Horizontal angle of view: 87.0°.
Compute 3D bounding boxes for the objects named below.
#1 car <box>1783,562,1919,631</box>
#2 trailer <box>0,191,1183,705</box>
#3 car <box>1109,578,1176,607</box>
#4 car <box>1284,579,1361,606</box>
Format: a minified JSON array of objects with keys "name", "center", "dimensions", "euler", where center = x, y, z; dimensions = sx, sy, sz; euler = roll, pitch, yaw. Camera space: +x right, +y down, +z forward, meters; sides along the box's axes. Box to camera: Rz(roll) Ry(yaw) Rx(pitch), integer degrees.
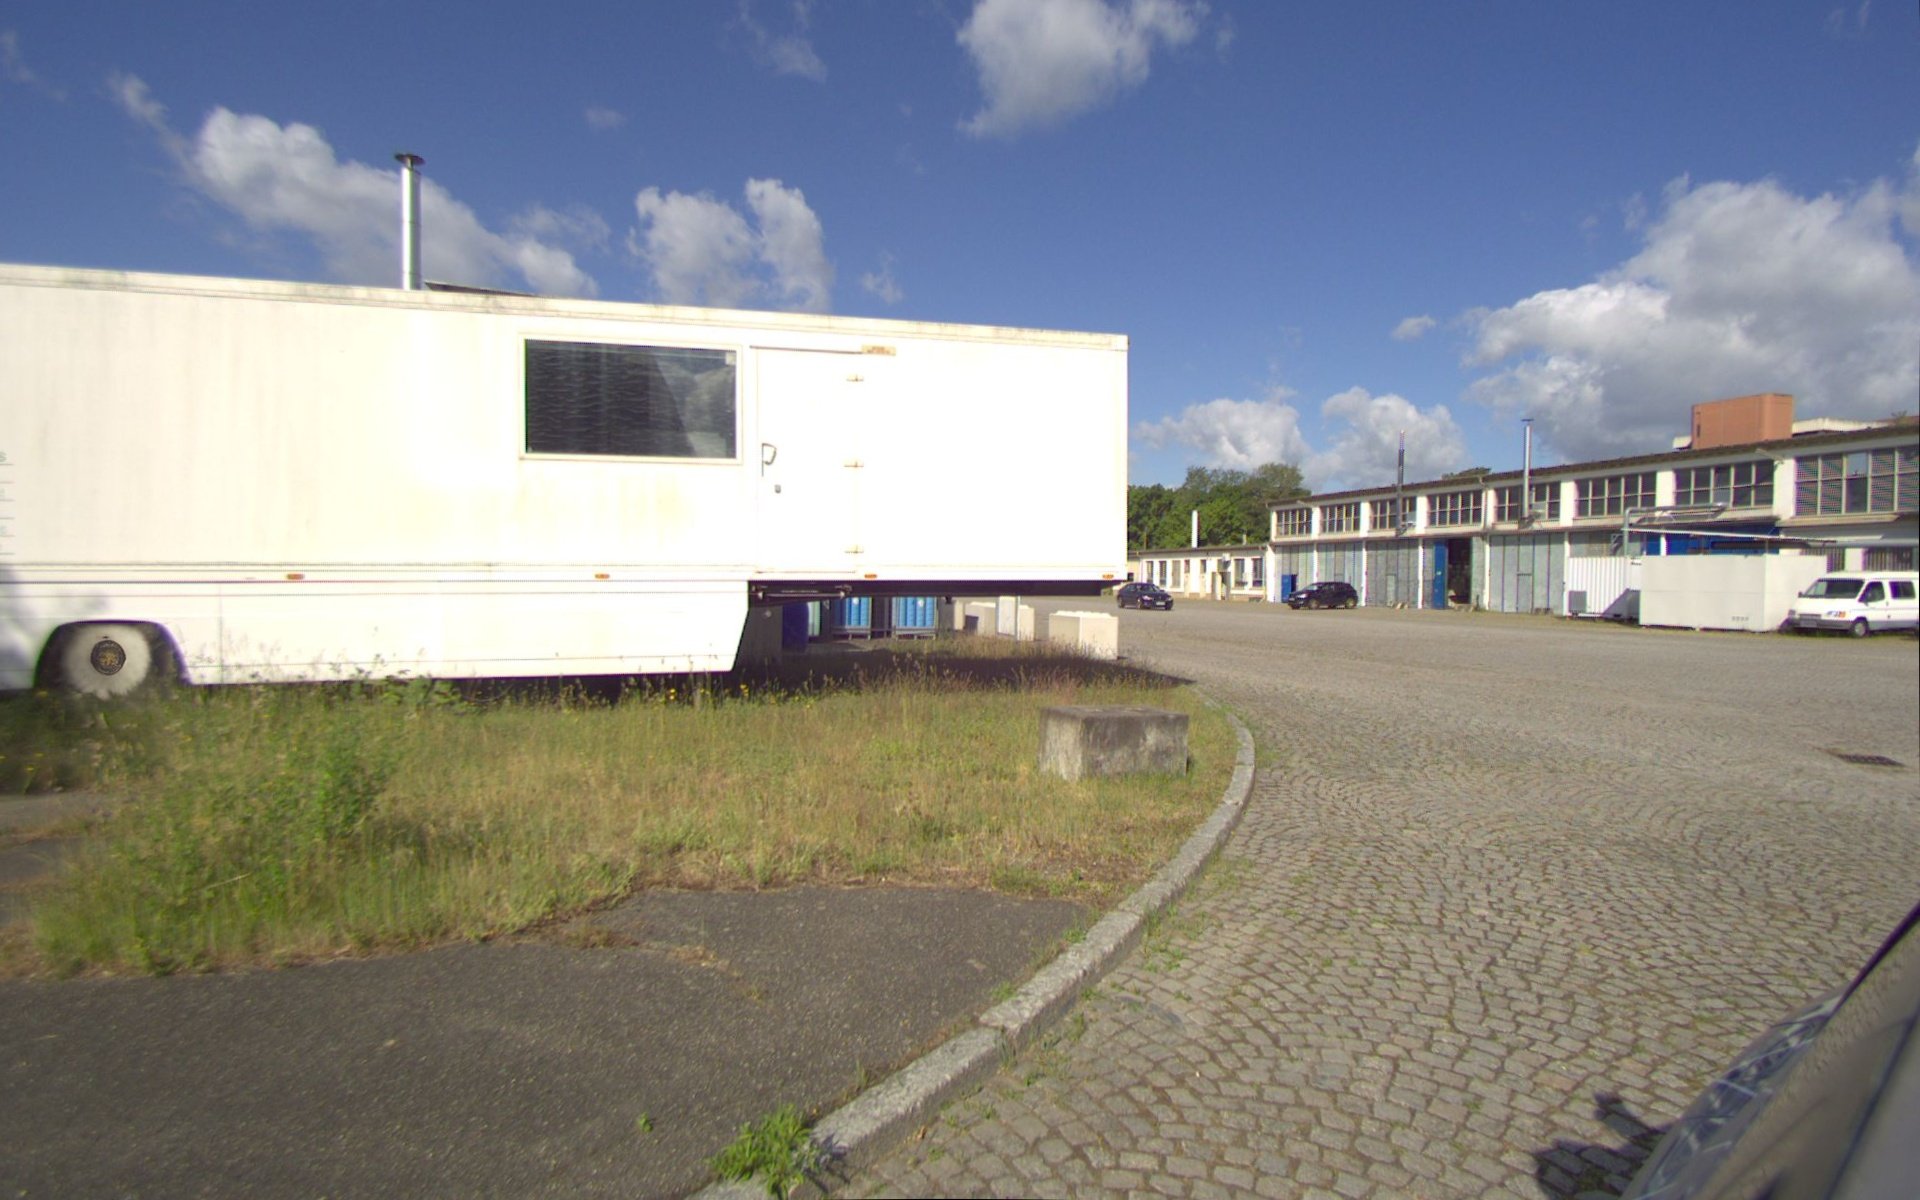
[{"name":"car","center":[29.519,-0.147,32.742],"dimensions":[4.704,2.107,2.014],"euler":[-1,1,-13]},{"name":"trailer","center":[-3.266,-1.174,10.301],"dimensions":[10.657,3.960,2.787],"euler":[0,1,-14]},{"name":"car","center":[9.632,-0.419,53.744],"dimensions":[1.704,1.447,4.085],"euler":[0,1,-19]},{"name":"car","center":[21.147,-0.451,59.112],"dimensions":[3.991,1.488,1.744],"euler":[-1,1,-18]}]
